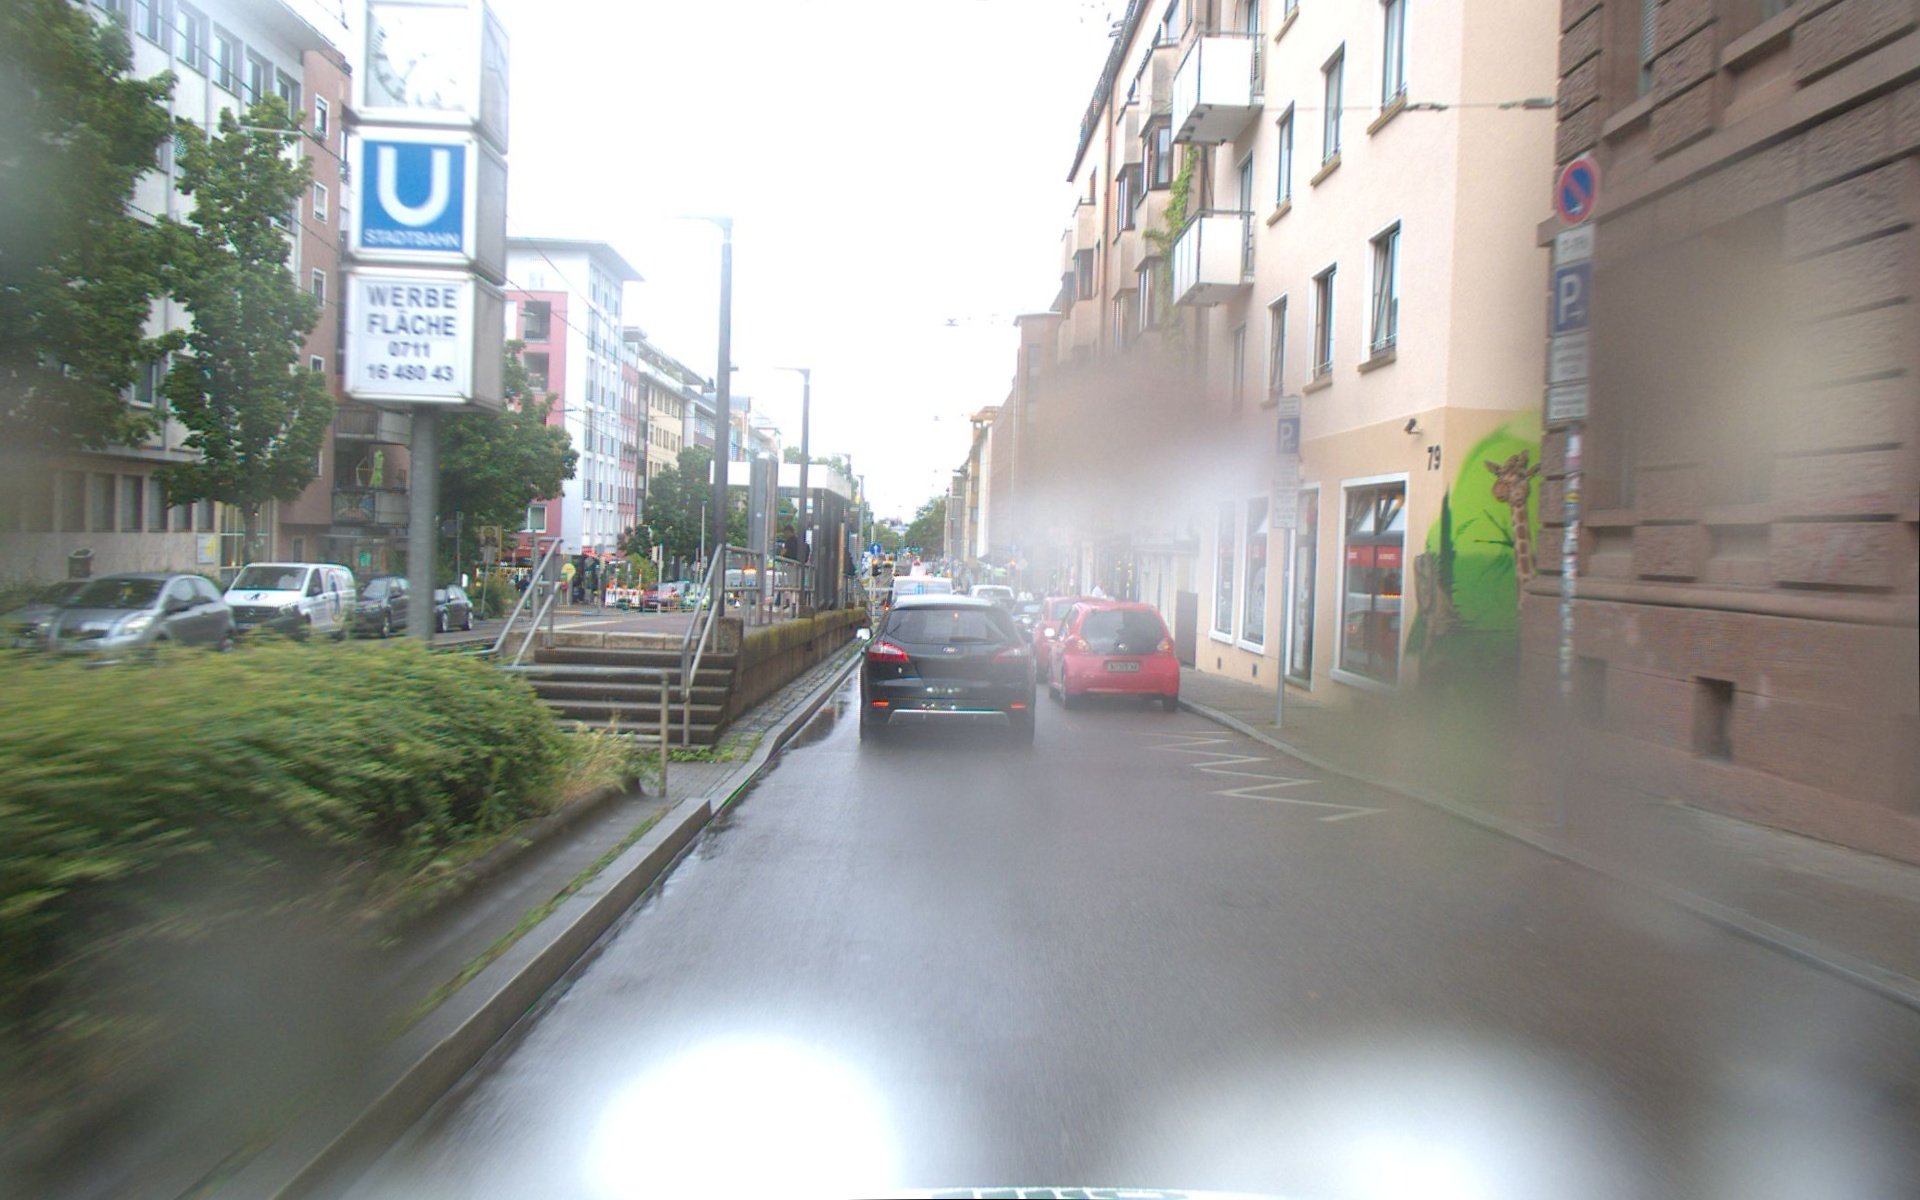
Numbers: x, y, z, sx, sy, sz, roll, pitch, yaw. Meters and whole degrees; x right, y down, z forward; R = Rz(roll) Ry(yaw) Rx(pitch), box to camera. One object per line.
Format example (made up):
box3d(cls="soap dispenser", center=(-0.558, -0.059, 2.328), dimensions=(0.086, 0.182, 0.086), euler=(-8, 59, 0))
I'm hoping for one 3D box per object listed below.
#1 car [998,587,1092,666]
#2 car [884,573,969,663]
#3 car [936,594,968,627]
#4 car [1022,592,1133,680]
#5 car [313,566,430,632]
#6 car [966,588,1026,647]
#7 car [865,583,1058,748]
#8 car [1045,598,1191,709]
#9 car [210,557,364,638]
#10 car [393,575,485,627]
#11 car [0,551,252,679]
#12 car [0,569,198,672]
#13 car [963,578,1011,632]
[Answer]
box3d(cls="car", center=(1.915, 0.639, 38.401), dimensions=(1.820, 1.612, 3.777), euler=(4, -2, -1))
box3d(cls="car", center=(-0.901, 0.404, 41.688), dimensions=(1.949, 2.096, 4.643), euler=(2, 1, -3))
box3d(cls="car", center=(-0.559, 0.730, 111.510), dimensions=(1.953, 2.049, 3.998), euler=(4, -2, -1))
box3d(cls="car", center=(2.066, 0.616, 29.835), dimensions=(1.637, 1.446, 3.475), euler=(1, 0, -2))
box3d(cls="car", center=(-15.596, 0.024, 44.020), dimensions=(1.660, 1.601, 4.044), euler=(2, -1, -1))
box3d(cls="car", center=(1.197, 0.619, 56.287), dimensions=(1.802, 1.812, 3.777), euler=(4, -2, -1))
box3d(cls="car", center=(-0.096, 0.631, 17.692), dimensions=(1.806, 1.533, 3.997), euler=(1, 0, -3))
box3d(cls="car", center=(2.192, 0.712, 23.743), dimensions=(1.637, 1.446, 3.475), euler=(1, 0, -2))
box3d(cls="car", center=(-15.377, -0.006, 38.080), dimensions=(1.819, 1.665, 4.930), euler=(3, -1, -5))
box3d(cls="car", center=(-15.744, 0.066, 50.145), dimensions=(1.519, 1.419, 4.044), euler=(2, -1, -1))
box3d(cls="car", center=(-12.331, 0.244, 24.635), dimensions=(1.818, 1.665, 4.044), euler=(2, -1, -1))
box3d(cls="car", center=(-14.846, 0.363, 28.426), dimensions=(1.634, 1.585, 4.044), euler=(2, -1, -1))
box3d(cls="car", center=(0.985, 0.216, 62.130), dimensions=(1.559, 1.812, 3.777), euler=(4, -2, -1))
